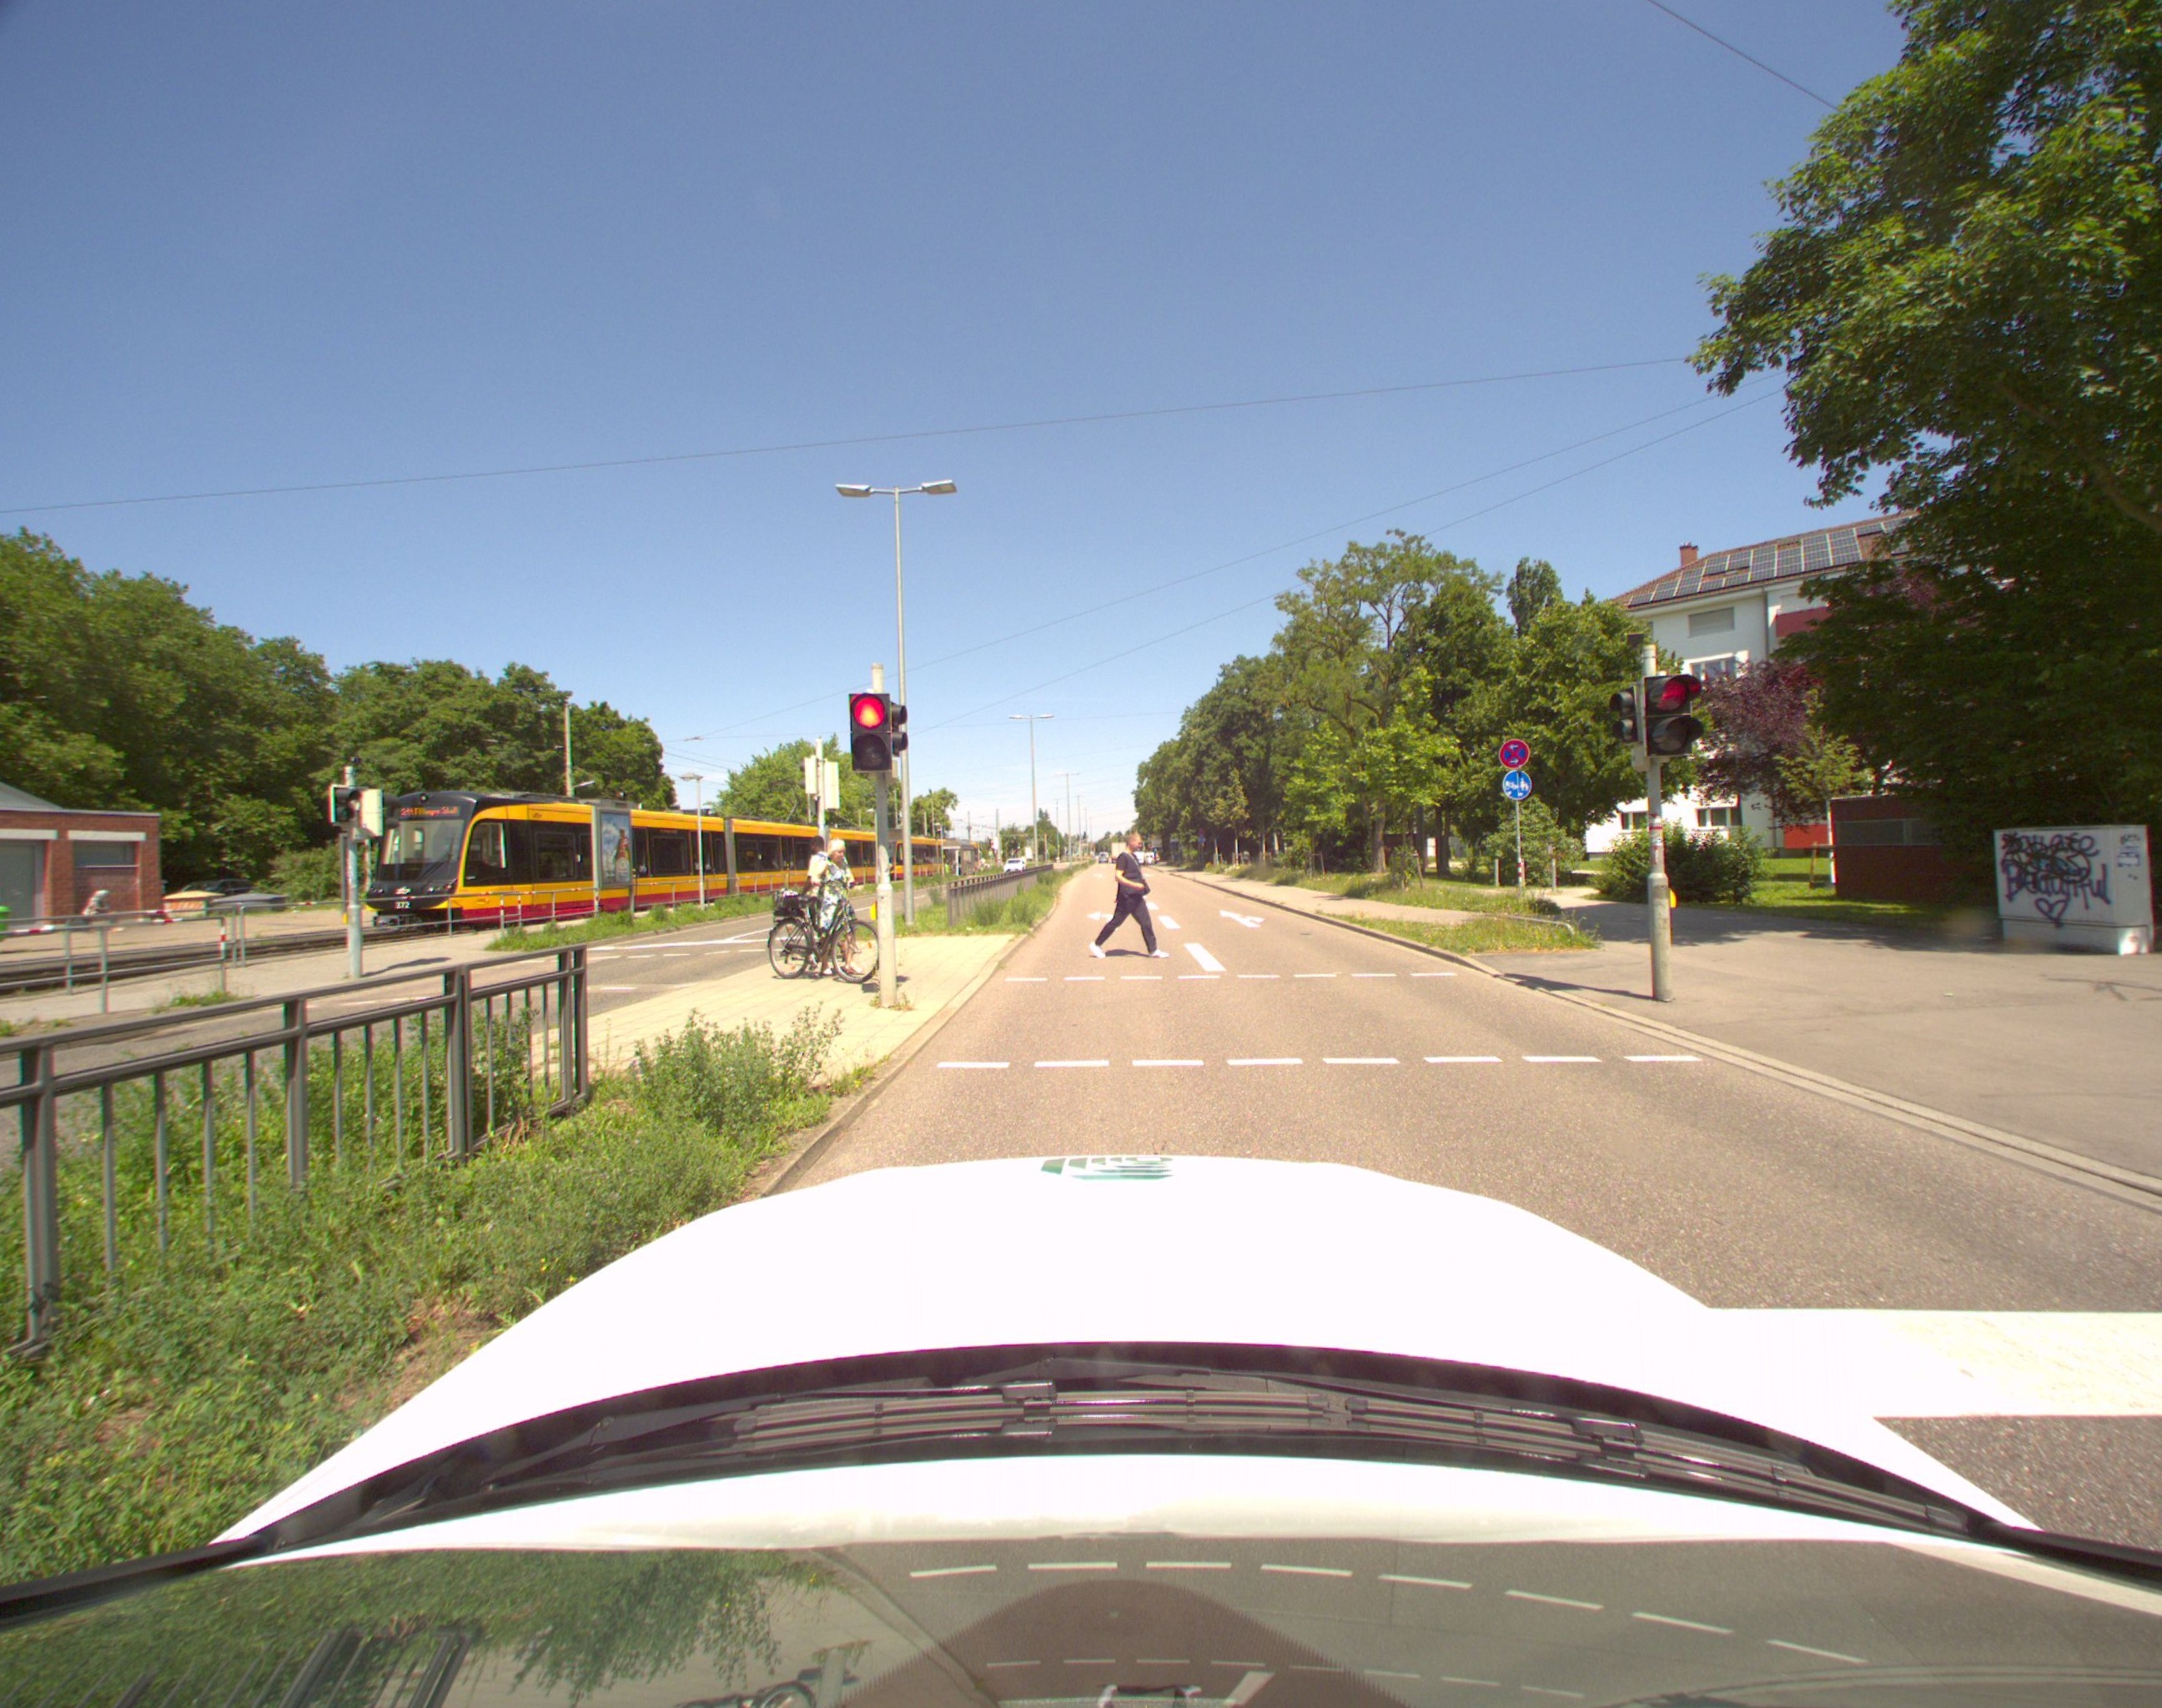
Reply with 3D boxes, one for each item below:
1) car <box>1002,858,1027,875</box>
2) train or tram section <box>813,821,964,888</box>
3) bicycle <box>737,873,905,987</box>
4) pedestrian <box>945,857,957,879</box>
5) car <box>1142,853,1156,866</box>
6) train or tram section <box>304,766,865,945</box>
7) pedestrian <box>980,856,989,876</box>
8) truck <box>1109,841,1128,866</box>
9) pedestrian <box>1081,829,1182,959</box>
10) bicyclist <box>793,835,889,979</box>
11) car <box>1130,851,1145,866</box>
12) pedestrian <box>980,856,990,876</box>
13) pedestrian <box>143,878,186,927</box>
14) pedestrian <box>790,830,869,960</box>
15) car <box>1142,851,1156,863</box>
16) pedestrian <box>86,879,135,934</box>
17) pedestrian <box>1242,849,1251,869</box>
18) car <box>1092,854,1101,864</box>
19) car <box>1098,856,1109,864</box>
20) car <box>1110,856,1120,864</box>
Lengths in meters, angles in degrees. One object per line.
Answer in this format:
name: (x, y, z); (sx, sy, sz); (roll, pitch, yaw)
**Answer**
car: (-6.124, 1.120, 75.110); (1.838, 1.494, 3.793); (-2, 0, 2)
train or tram section: (-13.583, 0.028, 63.960); (2.920, 3.789, 33.100); (-2, 0, 2)
bicycle: (-3.062, 0.855, 9.572); (1.941, 1.161, 0.544); (2, 2, 19)
pedestrian: (-11.095, 1.197, 69.624); (0.783, 1.868, 0.818); (-2, 0, 1)
car: (9.388, 0.714, 112.429); (1.773, 1.668, 4.002); (-2, 0, 2)
train or tram section: (-14.609, 0.032, 32.395); (2.946, 3.749, 30.044); (-2, 0, 2)
pedestrian: (-10.129, 1.248, 85.374); (0.812, 2.013, 0.939); (-2, 0, 1)
truck: (6.777, -0.087, 146.201); (3.193, 4.359, 6.563); (-2, 0, 2)
pedestrian: (0.735, 0.562, 11.807); (1.173, 1.778, 0.845); (-2, -2, 32)
bicyclist: (-2.924, 0.608, 9.947); (0.949, 1.666, 0.583); (1, 2, 19)
car: (7.258, 0.558, 105.494); (1.773, 1.903, 4.002); (-2, 0, 2)
pedestrian: (-9.909, 1.236, 84.074); (0.812, 2.013, 0.939); (-2, 0, 1)
pedestrian: (-27.928, 1.467, 24.820); (0.635, 1.456, 0.584); (-2, 0, 9)
pedestrian: (-3.539, 0.551, 11.512); (0.837, 1.777, 0.720); (-1, 2, 1)
car: (9.909, 0.456, 118.770); (1.773, 1.668, 4.002); (-2, 0, 2)
pedestrian: (-26.677, 1.435, 22.391); (0.636, 1.480, 0.570); (-2, 0, 1)
pedestrian: (12.153, 0.396, 59.712); (0.600, 1.438, 0.557); (-2, 0, 8)
car: (3.327, 1.091, 175.340); (1.986, 2.013, 4.002); (-2, 0, 2)
car: (4.057, 1.077, 147.249); (1.804, 1.464, 4.002); (-2, 0, 2)
car: (6.488, 1.139, 153.697); (1.804, 1.464, 4.002); (-2, 0, 2)
